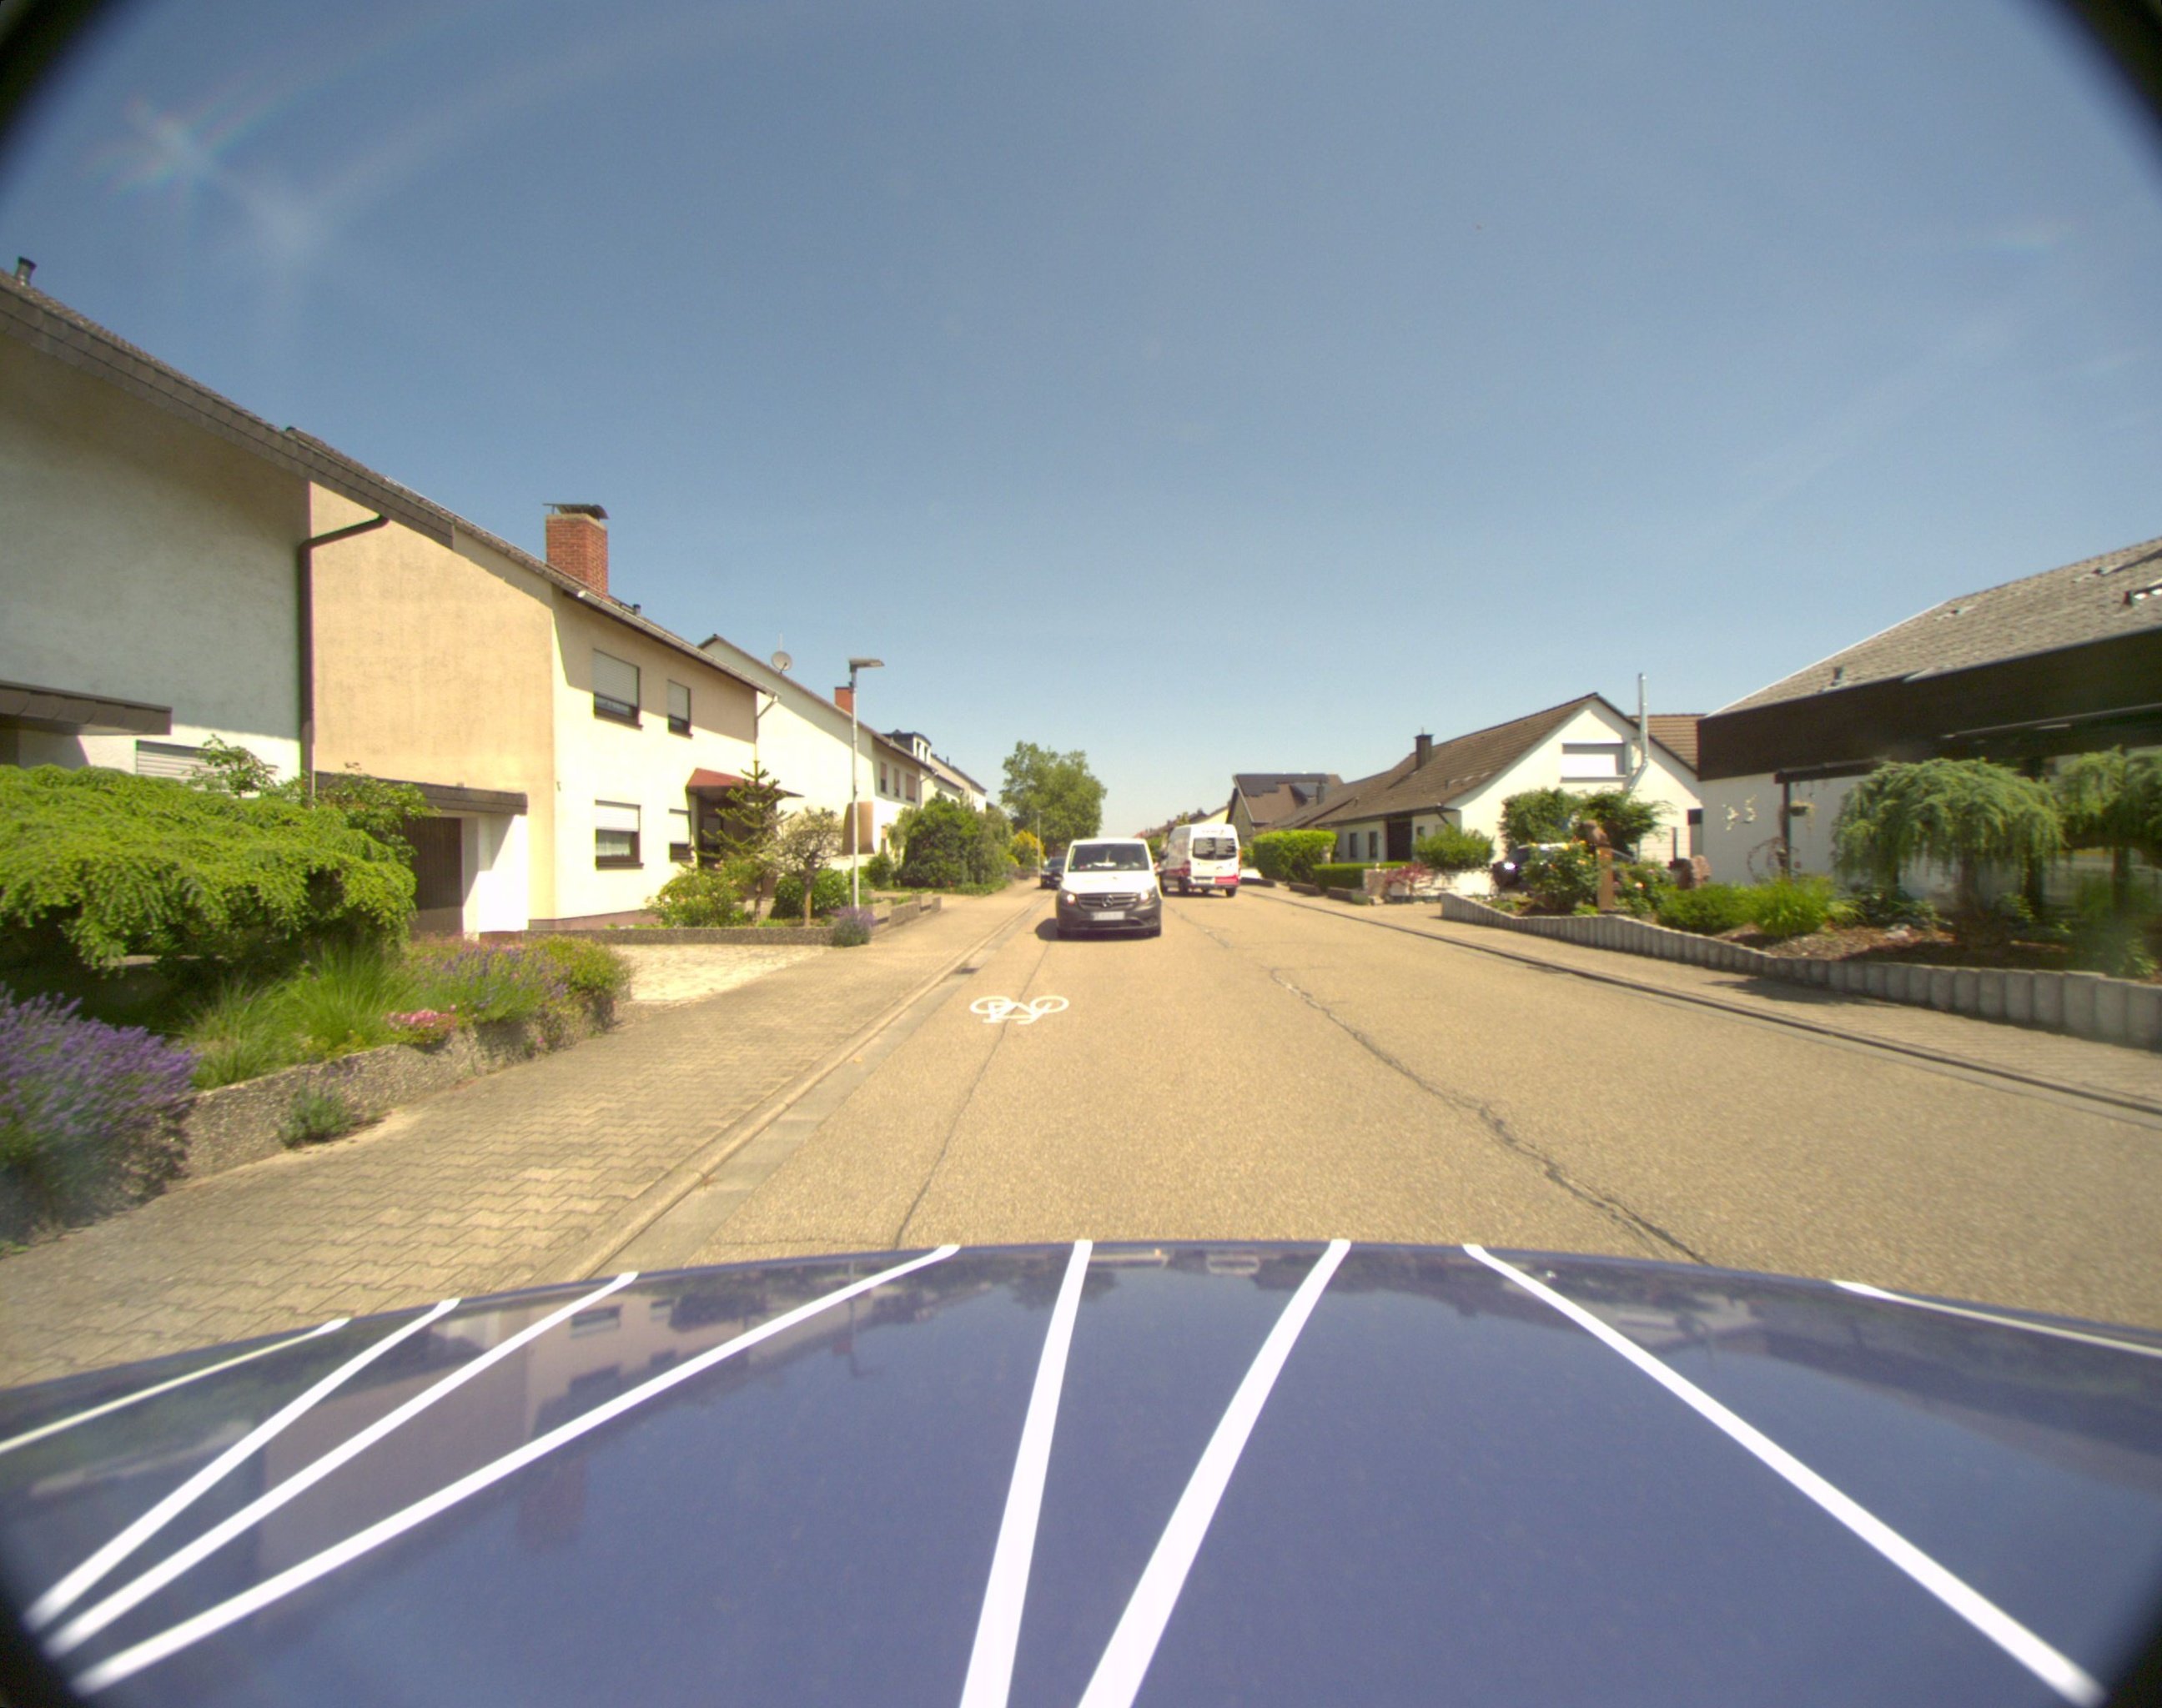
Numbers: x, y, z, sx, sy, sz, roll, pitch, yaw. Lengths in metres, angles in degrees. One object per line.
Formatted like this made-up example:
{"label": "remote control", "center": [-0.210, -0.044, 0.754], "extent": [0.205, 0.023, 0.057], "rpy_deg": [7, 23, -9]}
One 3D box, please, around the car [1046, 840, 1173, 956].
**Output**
{"label": "car", "center": [0.483, 0.669, 14.688], "extent": [2.018, 1.846, 5.067], "rpy_deg": [0, 1, 1]}

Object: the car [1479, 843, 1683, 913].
{"label": "car", "center": [12.707, 0.583, 19.500], "extent": [3.997, 1.674, 1.902], "rpy_deg": [0, 1, -1]}

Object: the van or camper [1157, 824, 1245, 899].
{"label": "van or camper", "center": [4.376, 0.248, 28.535], "extent": [2.070, 2.577, 4.600], "rpy_deg": [0, 0, -7]}

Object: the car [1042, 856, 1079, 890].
{"label": "car", "center": [-0.916, 0.836, 35.903], "extent": [1.564, 1.455, 4.693], "rpy_deg": [0, 0, 1]}
